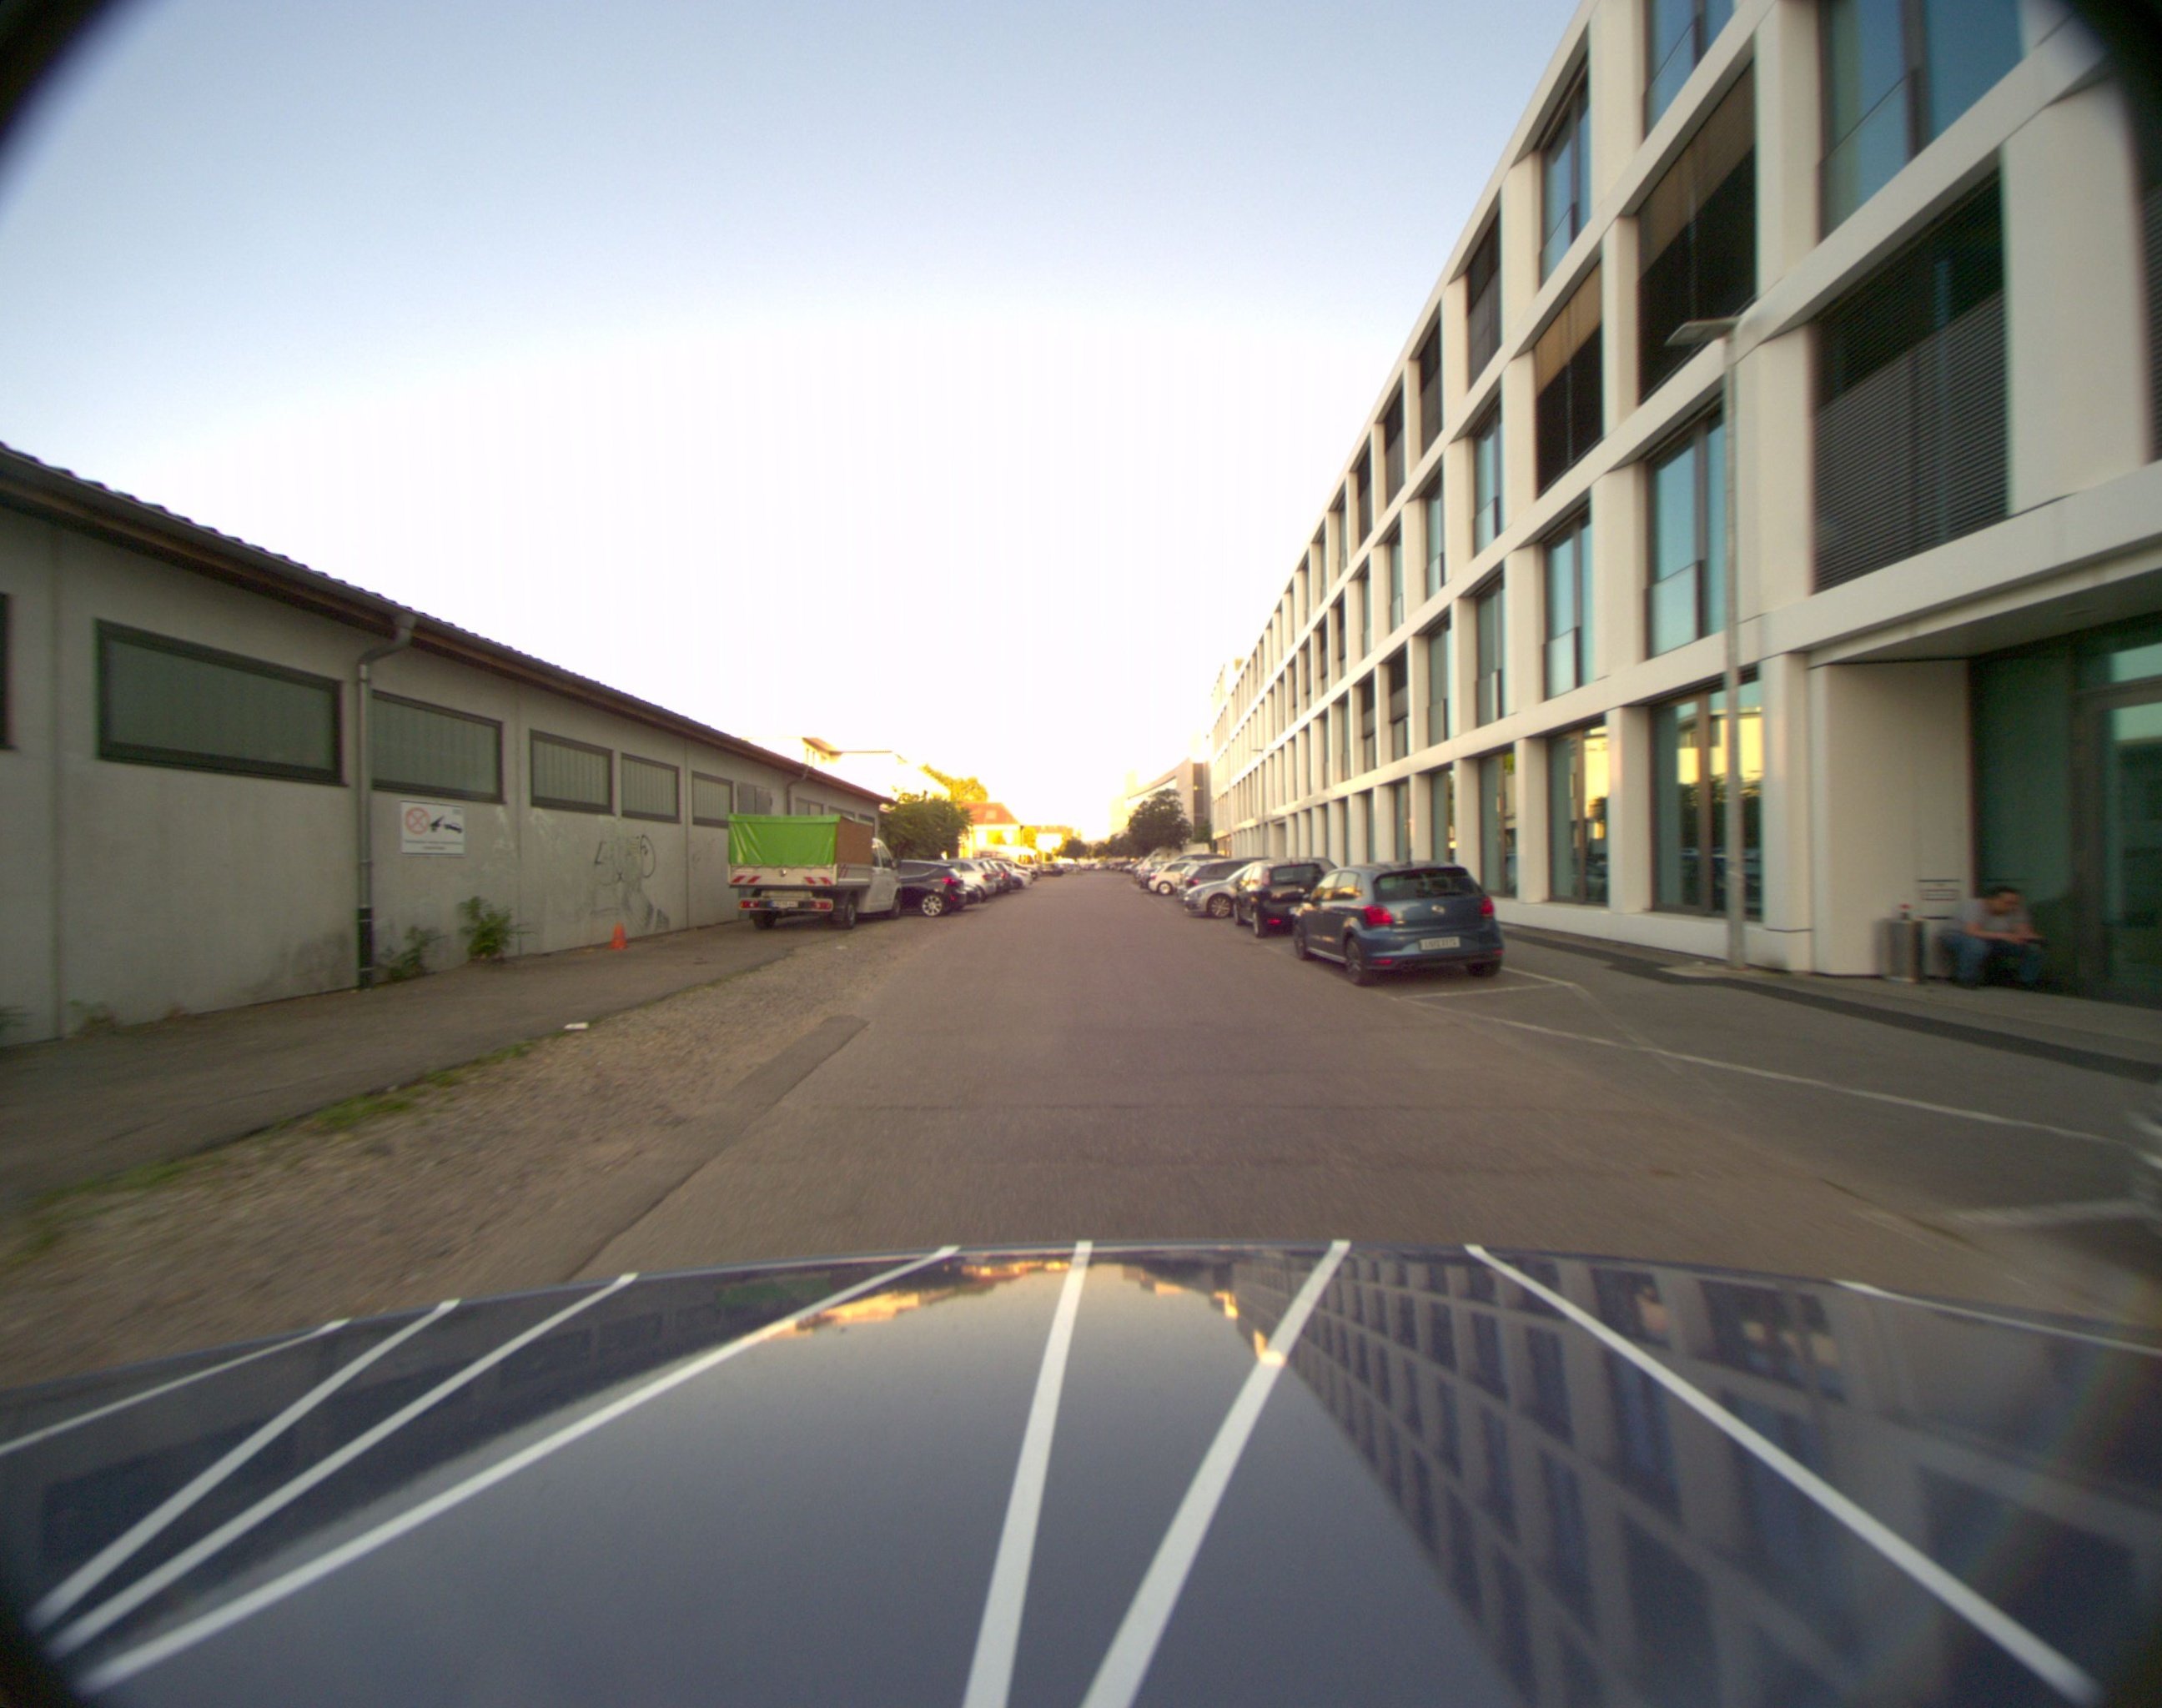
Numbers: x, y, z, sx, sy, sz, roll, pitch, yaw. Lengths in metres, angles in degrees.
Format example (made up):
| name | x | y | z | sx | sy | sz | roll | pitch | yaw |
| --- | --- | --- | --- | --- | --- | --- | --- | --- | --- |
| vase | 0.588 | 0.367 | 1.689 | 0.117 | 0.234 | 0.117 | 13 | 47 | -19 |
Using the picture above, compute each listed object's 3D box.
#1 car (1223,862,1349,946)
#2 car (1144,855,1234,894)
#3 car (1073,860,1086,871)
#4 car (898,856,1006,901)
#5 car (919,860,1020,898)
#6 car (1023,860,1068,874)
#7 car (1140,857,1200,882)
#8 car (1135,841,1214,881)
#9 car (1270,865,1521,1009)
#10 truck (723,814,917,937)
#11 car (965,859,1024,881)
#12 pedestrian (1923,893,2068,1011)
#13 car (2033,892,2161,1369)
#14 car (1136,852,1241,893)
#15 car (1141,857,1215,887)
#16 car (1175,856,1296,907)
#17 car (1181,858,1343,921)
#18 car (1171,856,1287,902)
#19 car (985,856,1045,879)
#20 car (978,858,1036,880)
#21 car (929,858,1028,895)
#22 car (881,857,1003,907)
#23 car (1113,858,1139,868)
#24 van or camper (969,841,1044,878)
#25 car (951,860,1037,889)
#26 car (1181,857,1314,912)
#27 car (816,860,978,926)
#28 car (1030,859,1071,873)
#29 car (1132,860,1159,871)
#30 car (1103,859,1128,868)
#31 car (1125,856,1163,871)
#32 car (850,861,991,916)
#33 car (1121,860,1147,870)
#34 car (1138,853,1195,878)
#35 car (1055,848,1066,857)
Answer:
| name | x | y | z | sx | sy | sz | roll | pitch | yaw |
| --- | --- | --- | --- | --- | --- | --- | --- | --- | --- |
| car | 4.236 | 0.959 | 16.357 | 1.652 | 1.430 | 4.203 | -4 | 0 | 2 |
| car | 4.615 | 0.876 | 32.670 | 3.674 | 1.502 | 1.697 | -2 | -1 | 7 |
| car | -0.227 | 1.512 | 101.686 | 1.680 | 1.454 | 4.369 | 0 | -1 | 1 |
| car | -5.070 | 0.938 | 30.256 | 3.994 | 1.609 | 1.827 | -2 | 0 | -2 |
| car | -4.764 | 1.058 | 32.855 | 3.993 | 1.437 | 1.827 | -2 | 1 | 2 |
| car | -3.416 | 1.218 | 74.409 | 4.326 | 1.325 | 1.896 | 0 | 0 | 0 |
| car | 5.710 | 0.995 | 49.065 | 3.716 | 1.486 | 1.708 | -2 | -1 | 3 |
| car | 6.557 | 0.504 | 53.646 | 5.392 | 2.617 | 2.079 | -2 | -1 | 4 |
| car | 3.963 | 0.945 | 10.420 | 1.652 | 1.430 | 4.185 | -4 | 0 | 1 |
| truck | -5.264 | 0.459 | 16.378 | 2.103 | 2.187 | 5.713 | 0 | -1 | 1 |
| car | -5.696 | 1.050 | 50.173 | 3.714 | 1.470 | 1.712 | 0 | 0 | 0 |
| pedestrian | 8.458 | 0.887 | 7.054 | 0.588 | 1.012 | 0.630 | -1 | 0 | 8 |
| car | 4.257 | 0.812 | 0.569 | 1.714 | 1.470 | 4.184 | -4 | 0 | -1 |
| car | 4.944 | 0.849 | 35.234 | 4.628 | 1.696 | 2.006 | -2 | -1 | 7 |
| car | 5.245 | 0.968 | 41.329 | 3.790 | 1.513 | 1.694 | -2 | -1 | 1 |
| car | 5.027 | 0.904 | 25.109 | 3.663 | 1.502 | 1.688 | -2 | -1 | 4 |
| car | 4.713 | 0.925 | 20.232 | 3.935 | 1.502 | 1.688 | -2 | -1 | 4 |
| car | 5.338 | 0.912 | 27.818 | 3.973 | 1.502 | 1.796 | -2 | -1 | 4 |
| car | -4.953 | 0.997 | 57.573 | 4.249 | 1.731 | 1.968 | 0 | 0 | 6 |
| car | -5.274 | 1.045 | 54.597 | 4.015 | 1.554 | 1.712 | 0 | 0 | -2 |
| car | -4.727 | 1.028 | 35.365 | 4.212 | 1.494 | 1.890 | -2 | 1 | 3 |
| car | -4.963 | 0.991 | 27.573 | 3.994 | 1.600 | 1.939 | -2 | 0 | 0 |
| car | 7.516 | 1.523 | 126.252 | 4.028 | 1.574 | 1.798 | -3 | 0 | -9 |
| van or camper | -5.897 | 0.447 | 60.725 | 5.795 | 2.847 | 2.487 | 0 | 0 | 0 |
| car | -4.573 | 1.078 | 40.266 | 4.211 | 1.359 | 1.824 | -2 | 0 | 5 |
| car | 4.954 | 0.901 | 22.930 | 3.663 | 1.502 | 1.688 | -2 | -1 | 4 |
| car | -4.811 | 1.007 | 20.294 | 3.768 | 1.527 | 1.891 | -2 | 1 | 3 |
| car | -3.059 | 1.220 | 76.824 | 4.066 | 1.399 | 1.896 | 1 | -1 | 0 |
| car | 8.939 | 1.610 | 105.622 | 3.654 | 1.416 | 1.726 | -3 | 0 | 1 |
| car | 6.159 | 1.683 | 136.225 | 4.028 | 1.340 | 1.798 | -3 | 0 | -9 |
| car | 9.009 | 1.369 | 108.300 | 5.083 | 1.870 | 1.889 | -3 | 0 | -3 |
| car | -4.713 | 1.002 | 22.726 | 3.769 | 1.436 | 1.845 | -2 | 1 | 0 |
| car | 8.198 | 1.702 | 117.797 | 3.812 | 1.352 | 1.799 | -3 | 0 | -3 |
| car | 6.590 | 0.880 | 58.897 | 4.119 | 1.806 | 1.816 | -2 | -1 | -1 |
| car | -3.514 | -0.297 | 130.685 | 1.770 | 1.454 | 4.367 | 0 | -1 | -2 |
